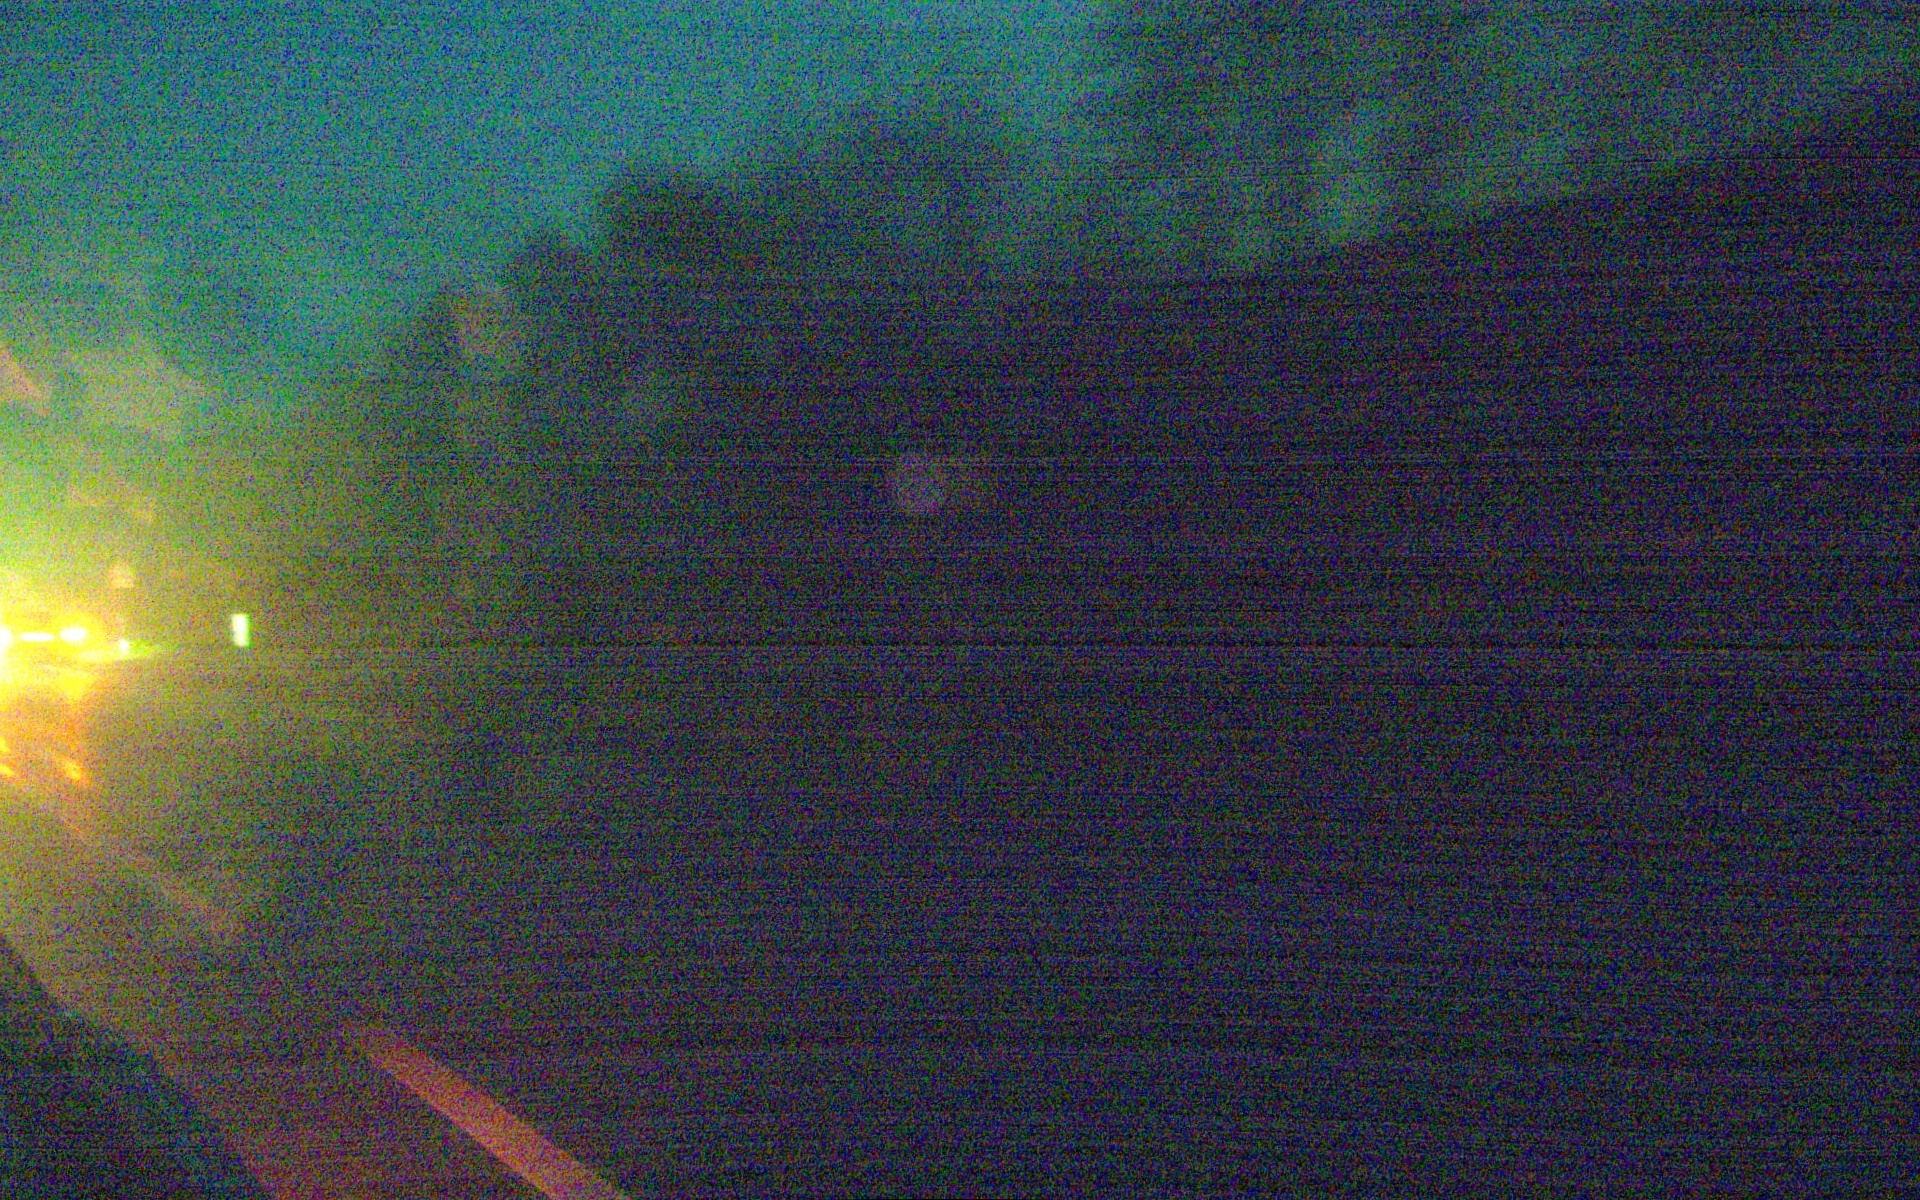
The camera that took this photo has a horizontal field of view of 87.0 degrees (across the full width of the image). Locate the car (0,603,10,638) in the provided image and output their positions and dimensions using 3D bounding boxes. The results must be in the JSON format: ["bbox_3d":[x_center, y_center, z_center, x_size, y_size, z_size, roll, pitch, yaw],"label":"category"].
[{"bbox_3d":[-53.059,1.125,54.780,4.440,1.874,1.972,-1,0,42],"label":"car"}]

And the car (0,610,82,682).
[{"bbox_3d":[-24.955,1.167,26.890,3.998,1.741,1.926,-1,0,41],"label":"car"}]
